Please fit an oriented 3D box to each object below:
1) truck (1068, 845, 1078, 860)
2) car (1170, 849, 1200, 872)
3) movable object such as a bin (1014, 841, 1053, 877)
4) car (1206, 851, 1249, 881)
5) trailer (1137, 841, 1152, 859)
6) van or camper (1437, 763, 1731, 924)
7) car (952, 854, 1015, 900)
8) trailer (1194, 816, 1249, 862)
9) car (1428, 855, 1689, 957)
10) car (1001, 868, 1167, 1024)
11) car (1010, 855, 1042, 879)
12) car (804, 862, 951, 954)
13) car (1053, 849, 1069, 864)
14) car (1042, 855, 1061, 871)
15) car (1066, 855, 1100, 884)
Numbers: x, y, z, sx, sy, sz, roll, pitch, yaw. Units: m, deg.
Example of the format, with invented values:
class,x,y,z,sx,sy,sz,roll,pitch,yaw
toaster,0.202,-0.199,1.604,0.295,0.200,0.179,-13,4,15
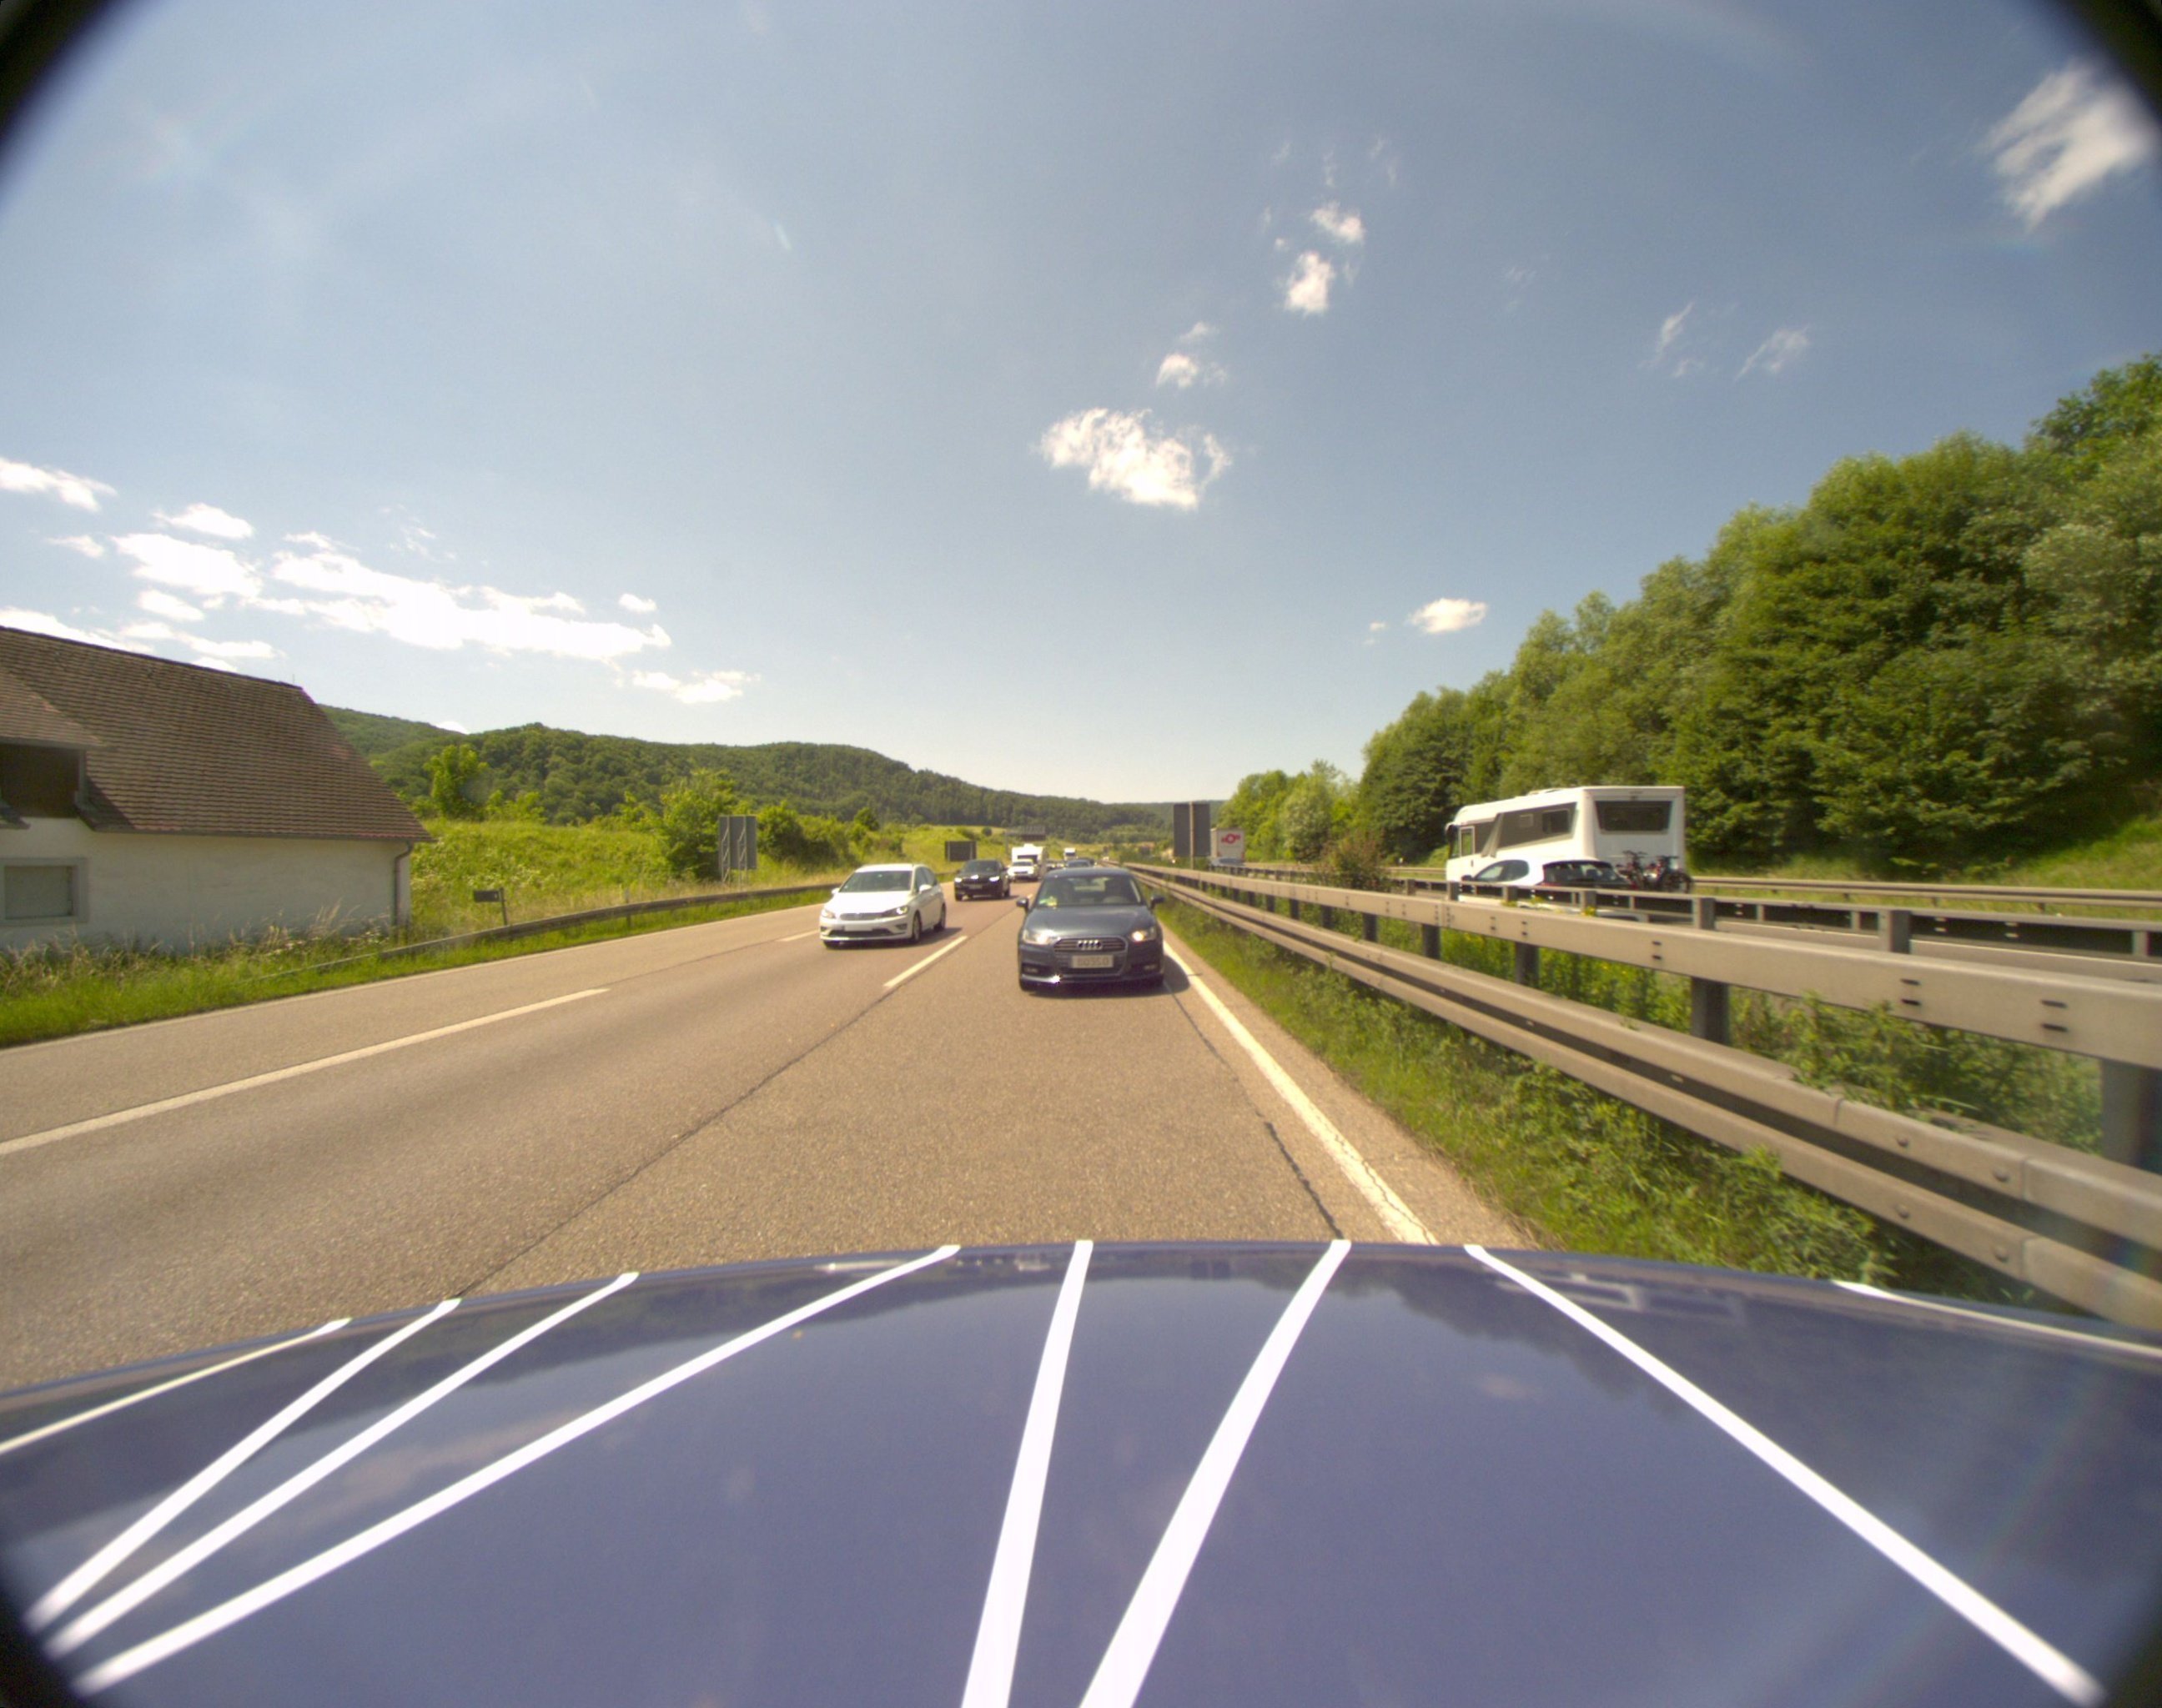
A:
class,x,y,z,sx,sy,sz,roll,pitch,yaw
truck,-1.961,-0.294,189.748,2.336,3.623,7.006,-2,0,1
car,9.382,0.581,69.156,1.999,2.002,4.333,-2,0,-1
movable object such as a bin,-3.681,0.355,60.129,2.481,2.616,6.709,-2,0,1
car,8.694,0.689,45.469,1.779,1.642,4.491,-1,0,1
trailer,14.850,-0.924,177.700,2.587,3.982,12.601,-2,0,1
van or camper,12.266,-0.229,19.648,2.596,3.316,7.648,-1,0,1
car,-3.924,0.881,31.156,1.893,1.761,4.172,-1,0,2
trailer,13.402,-1.359,73.777,2.789,3.976,14.159,-2,0,1
car,8.156,0.772,13.590,1.802,1.455,4.536,-1,0,0
car,0.167,0.948,9.468,1.591,1.401,4.001,-2,0,4
car,-3.817,0.881,53.136,1.821,1.574,4.000,-1,0,1
car,-3.985,0.994,15.598,1.777,1.532,4.054,-2,0,1
car,-2.766,0.383,106.022,1.999,2.002,3.998,-1,0,-5
car,-3.046,0.920,79.466,1.711,1.542,4.000,-1,0,1
car,0.164,0.877,45.015,1.835,1.586,4.001,-1,0,2
